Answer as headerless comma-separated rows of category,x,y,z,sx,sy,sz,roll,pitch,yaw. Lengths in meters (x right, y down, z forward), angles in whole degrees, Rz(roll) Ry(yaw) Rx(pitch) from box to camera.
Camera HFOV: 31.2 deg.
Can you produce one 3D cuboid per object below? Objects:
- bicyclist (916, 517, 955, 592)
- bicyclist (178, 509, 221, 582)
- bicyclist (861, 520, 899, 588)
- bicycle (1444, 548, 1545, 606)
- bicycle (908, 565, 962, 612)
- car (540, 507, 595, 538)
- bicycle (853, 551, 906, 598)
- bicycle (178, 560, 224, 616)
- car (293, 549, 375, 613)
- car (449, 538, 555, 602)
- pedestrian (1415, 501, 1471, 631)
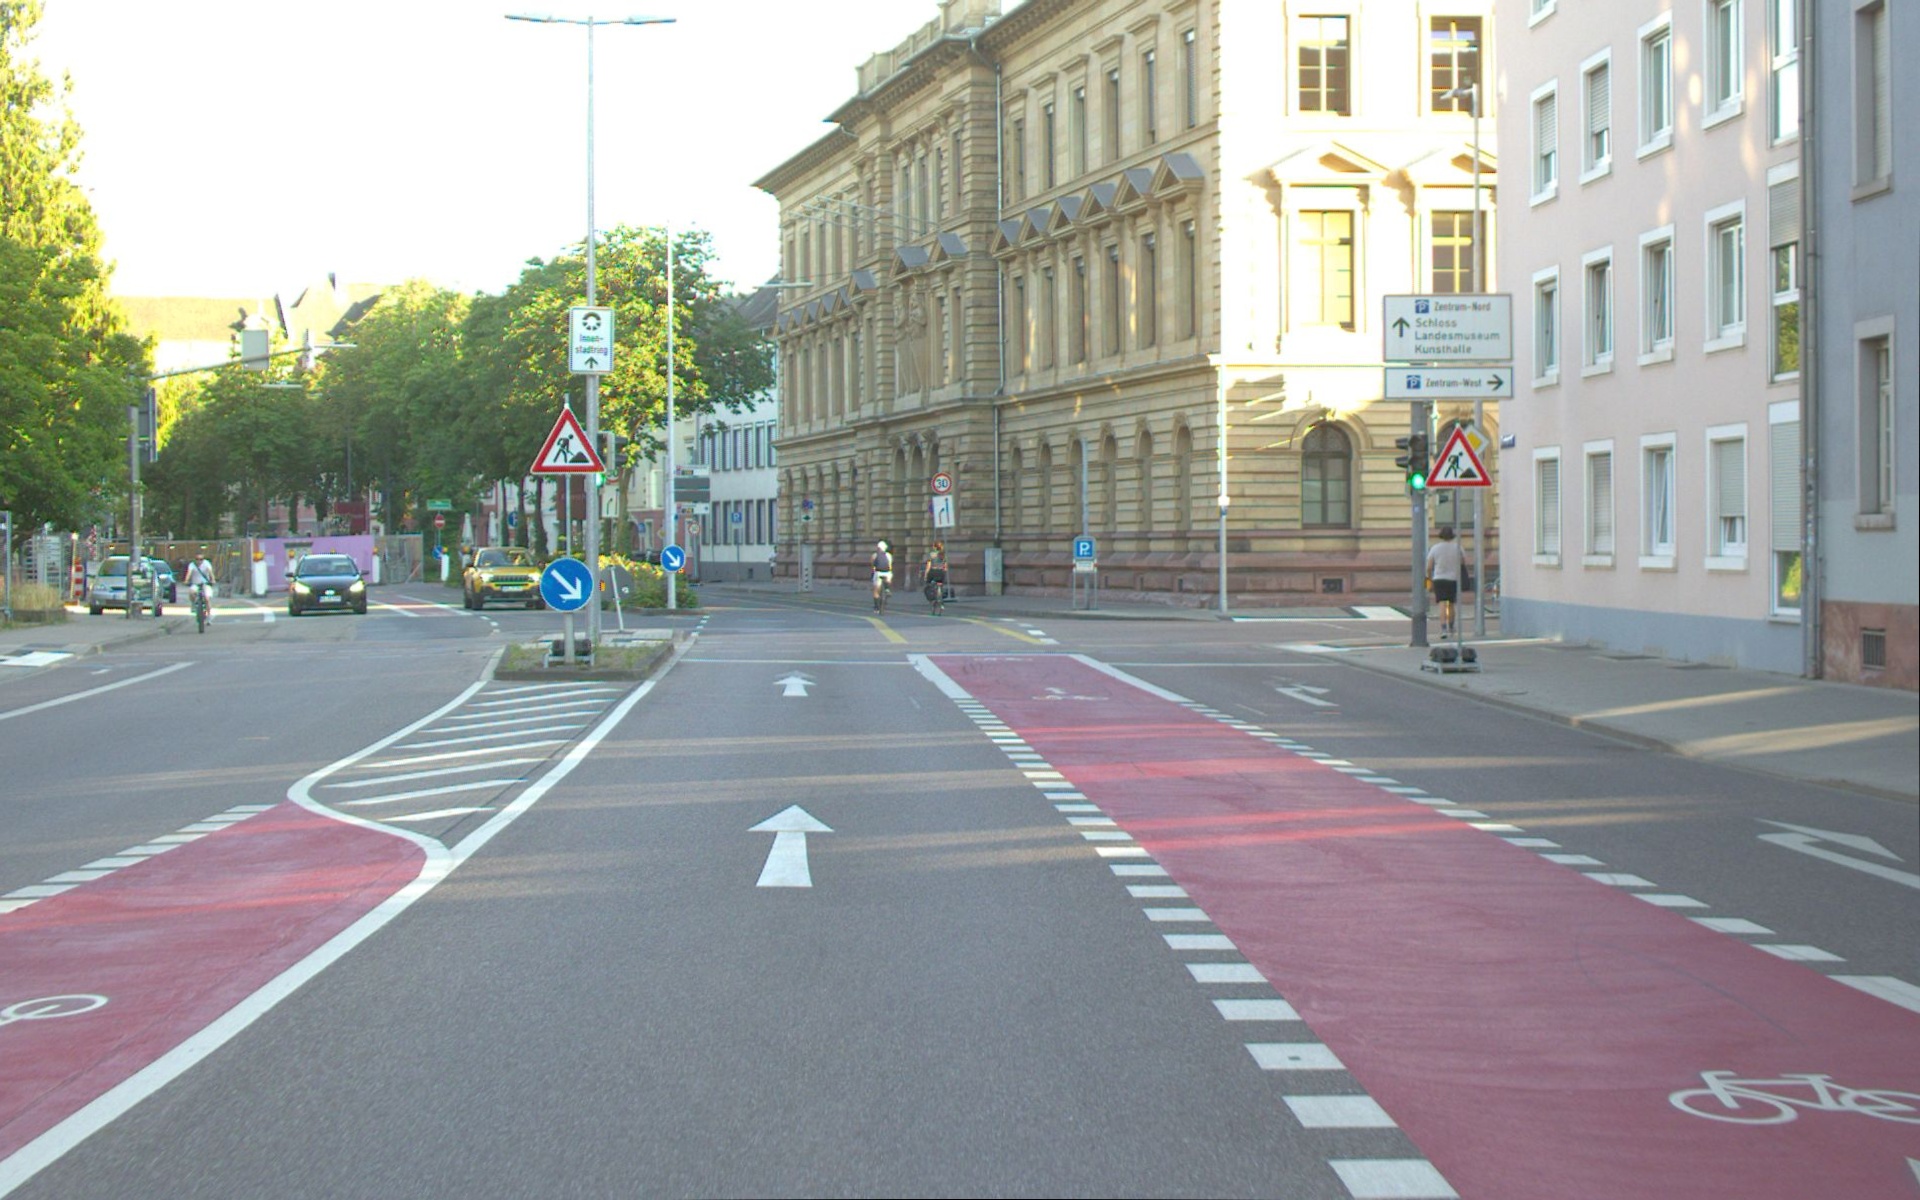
bicyclist,-0.587,-1.072,80.779,0.649,1.754,0.864,2,1,-16
bicyclist,-15.446,-1.114,69.867,0.747,1.455,0.937,-2,1,-9
bicyclist,-1.867,-1.077,80.396,0.668,1.560,0.699,2,0,-18
bicycle,11.795,-0.511,75.835,2.050,1.203,0.862,0,3,-5
bicycle,-0.588,-0.274,80.684,0.652,1.067,2.259,2,0,-16
car,-20.495,-4.047,179.247,1.812,1.554,3.866,0,1,-24
bicycle,-1.885,-0.602,80.415,0.669,1.067,1.902,1,0,-19
bicycle,-15.427,-0.257,69.912,0.753,1.086,1.933,-2,1,-9
car,-15.361,-0.479,84.487,1.823,1.503,4.428,0,1,-8
car,-11.318,-0.761,85.223,1.845,1.542,4.118,-1,1,3
pedestrian,7.530,-0.534,53.560,0.785,2.007,0.994,0,1,12
